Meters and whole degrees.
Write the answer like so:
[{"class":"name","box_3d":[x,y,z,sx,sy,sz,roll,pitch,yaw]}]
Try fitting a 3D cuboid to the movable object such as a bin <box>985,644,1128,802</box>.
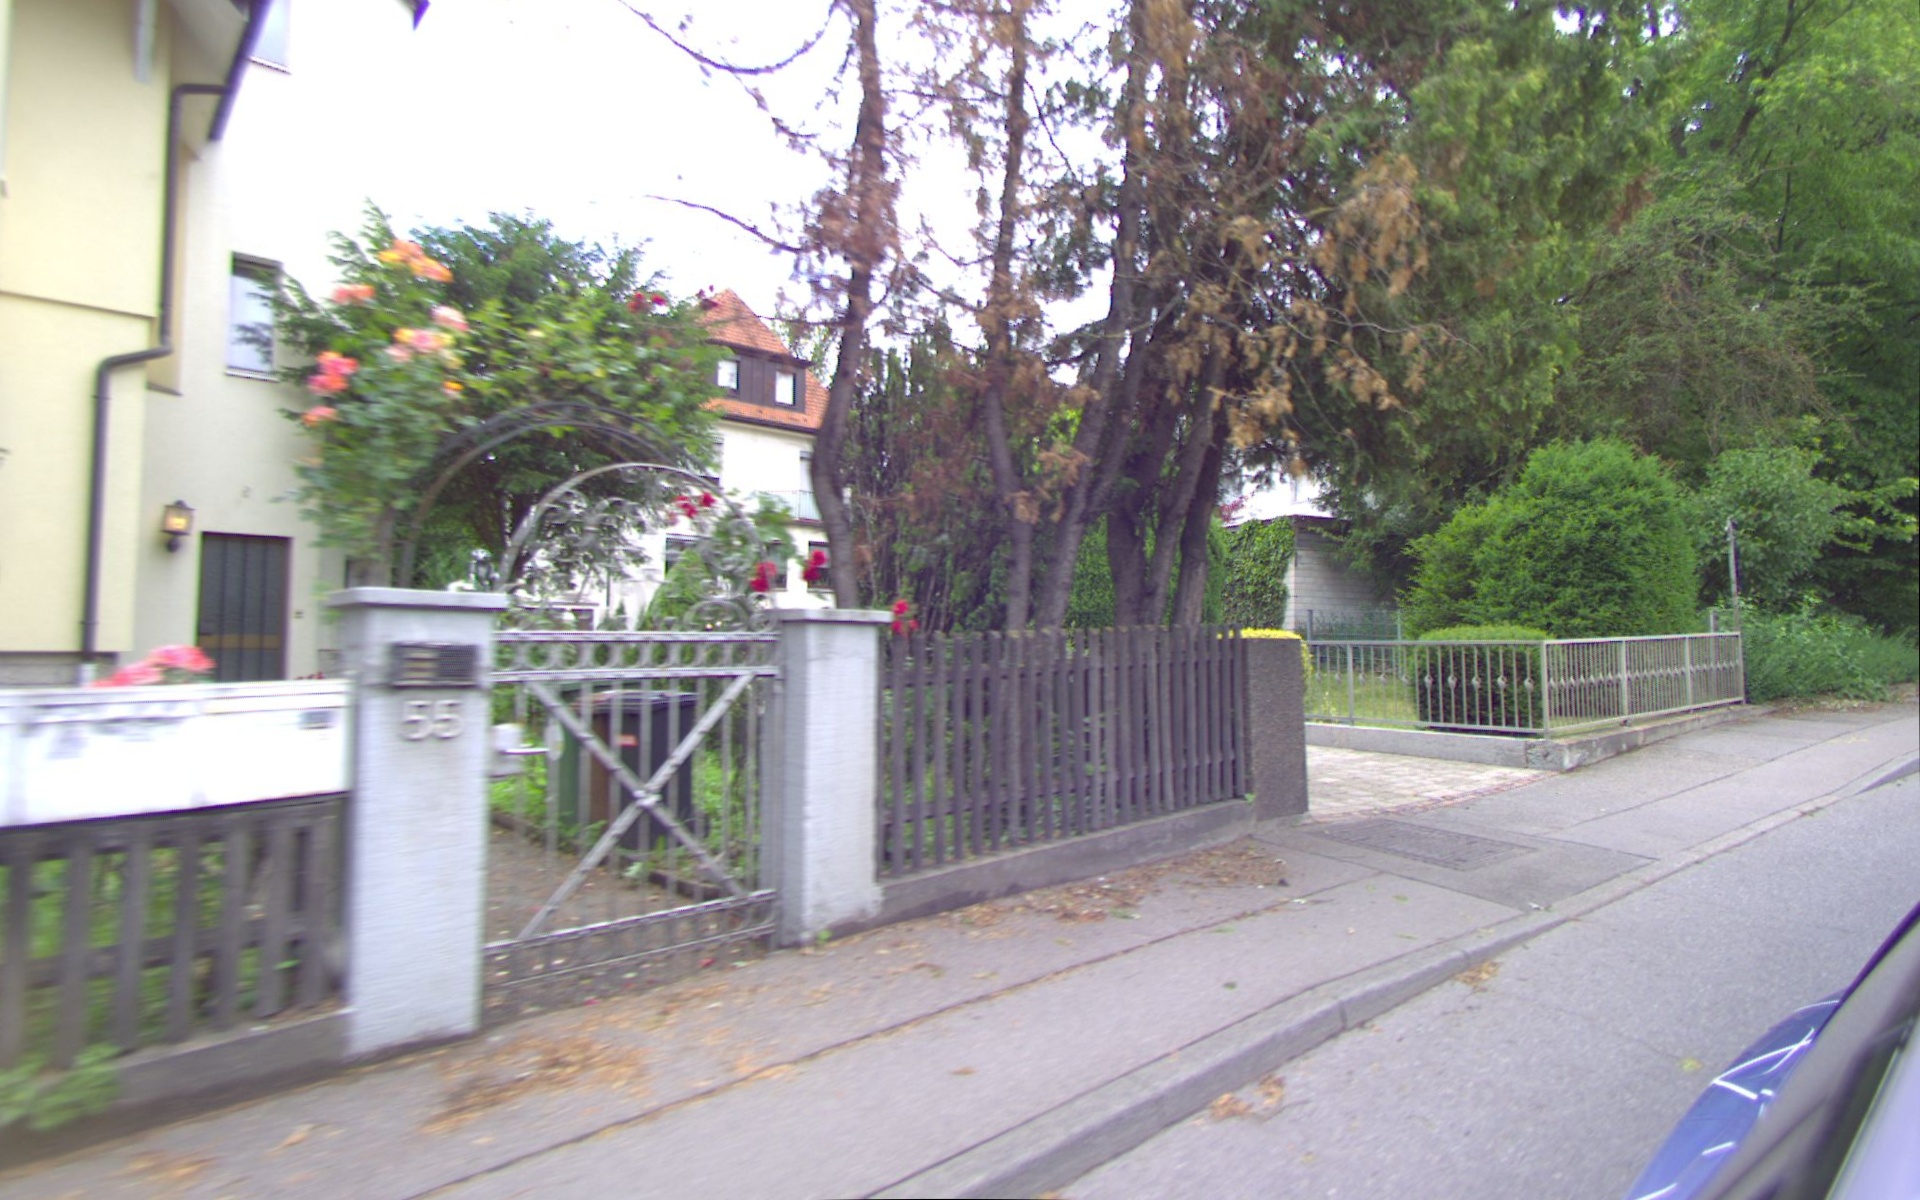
[{"class":"movable object such as a bin","box_3d":[0.720,0.882,7.624,0.767,1.062,0.780,0,-1,-30]}]
